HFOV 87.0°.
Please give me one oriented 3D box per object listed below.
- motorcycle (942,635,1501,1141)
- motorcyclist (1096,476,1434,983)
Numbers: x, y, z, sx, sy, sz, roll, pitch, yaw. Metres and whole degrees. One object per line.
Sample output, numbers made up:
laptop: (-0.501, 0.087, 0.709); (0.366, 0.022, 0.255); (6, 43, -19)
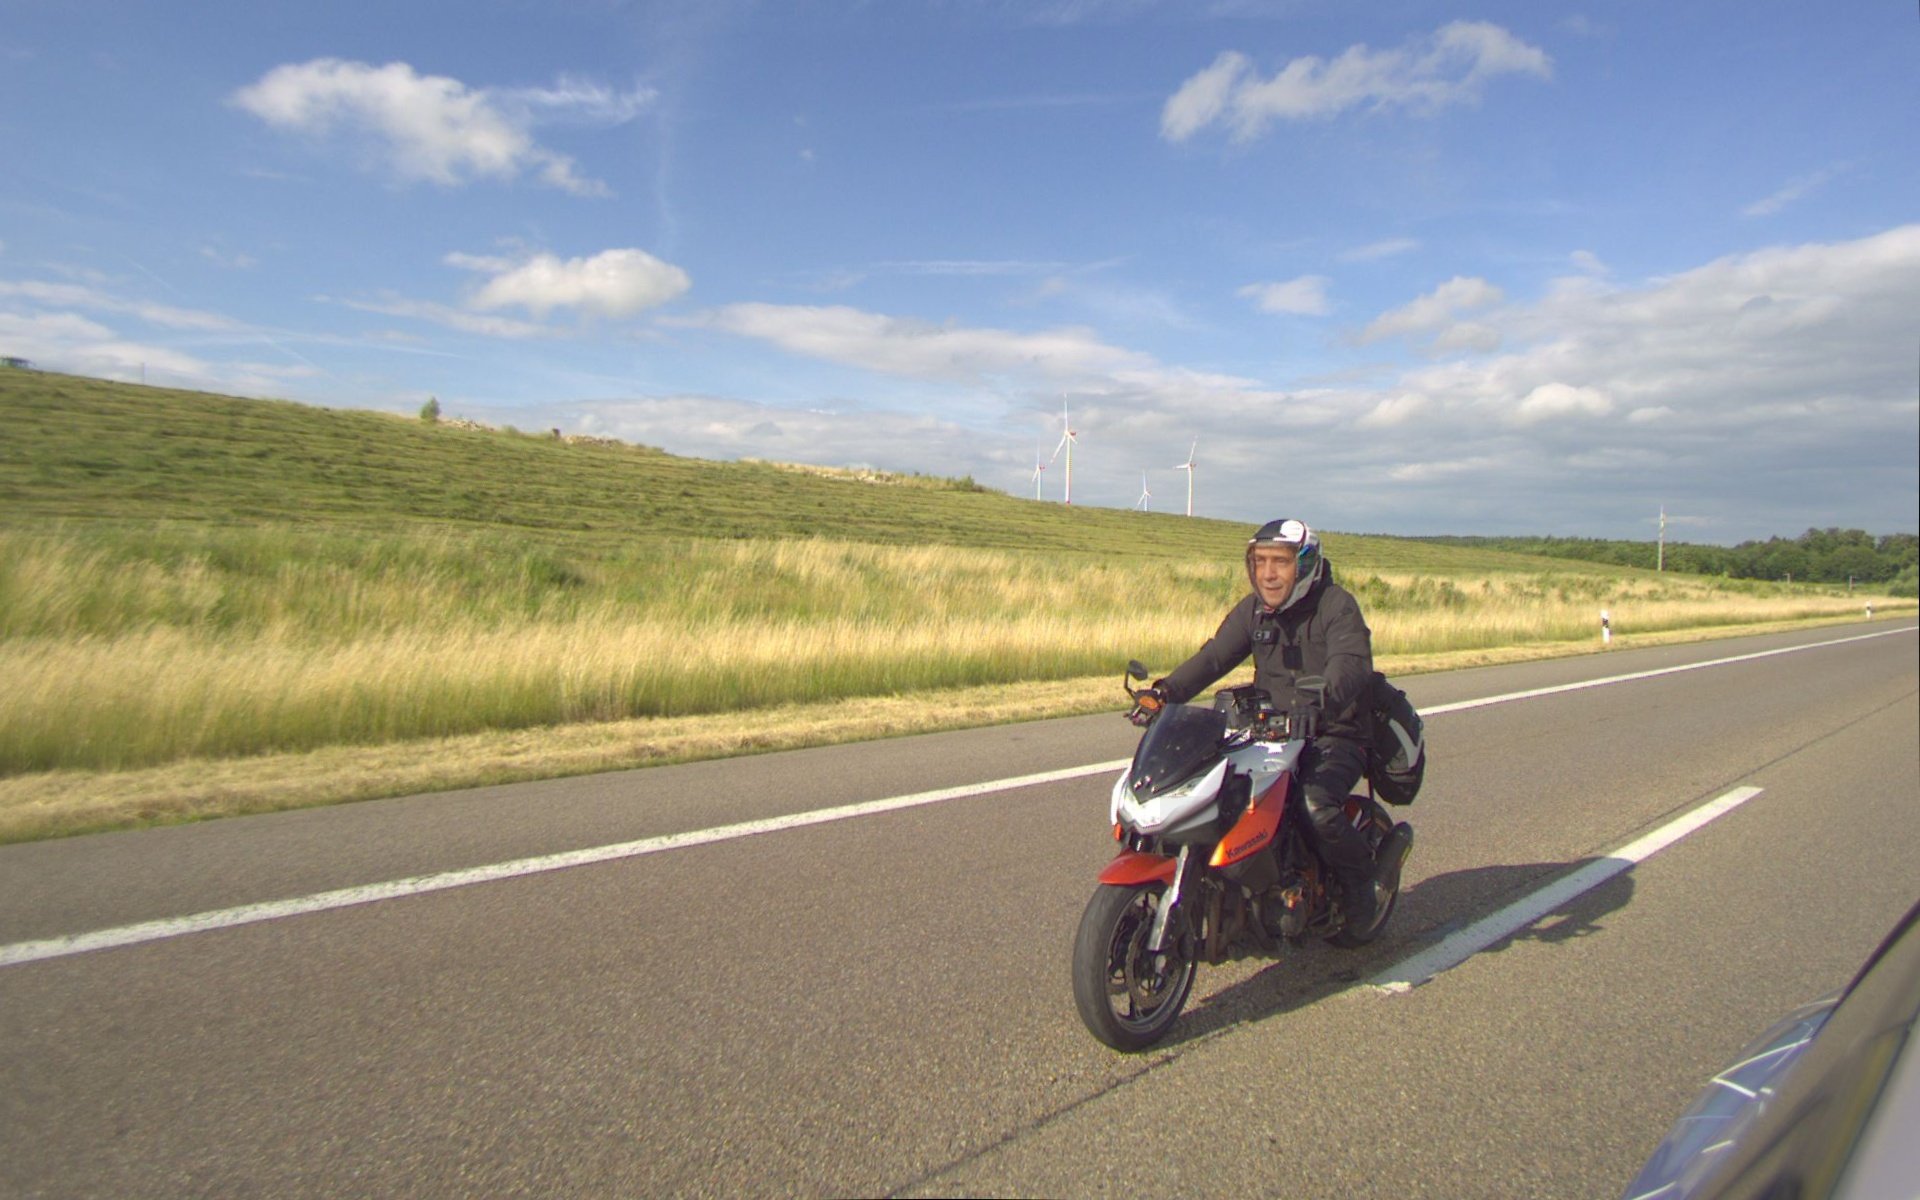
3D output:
motorcycle: (1.068, 0.790, 3.716); (2.217, 1.205, 0.897); (-1, 1, -41)
motorcyclist: (1.134, 0.392, 3.776); (0.918, 1.579, 0.851); (-1, 1, -41)
